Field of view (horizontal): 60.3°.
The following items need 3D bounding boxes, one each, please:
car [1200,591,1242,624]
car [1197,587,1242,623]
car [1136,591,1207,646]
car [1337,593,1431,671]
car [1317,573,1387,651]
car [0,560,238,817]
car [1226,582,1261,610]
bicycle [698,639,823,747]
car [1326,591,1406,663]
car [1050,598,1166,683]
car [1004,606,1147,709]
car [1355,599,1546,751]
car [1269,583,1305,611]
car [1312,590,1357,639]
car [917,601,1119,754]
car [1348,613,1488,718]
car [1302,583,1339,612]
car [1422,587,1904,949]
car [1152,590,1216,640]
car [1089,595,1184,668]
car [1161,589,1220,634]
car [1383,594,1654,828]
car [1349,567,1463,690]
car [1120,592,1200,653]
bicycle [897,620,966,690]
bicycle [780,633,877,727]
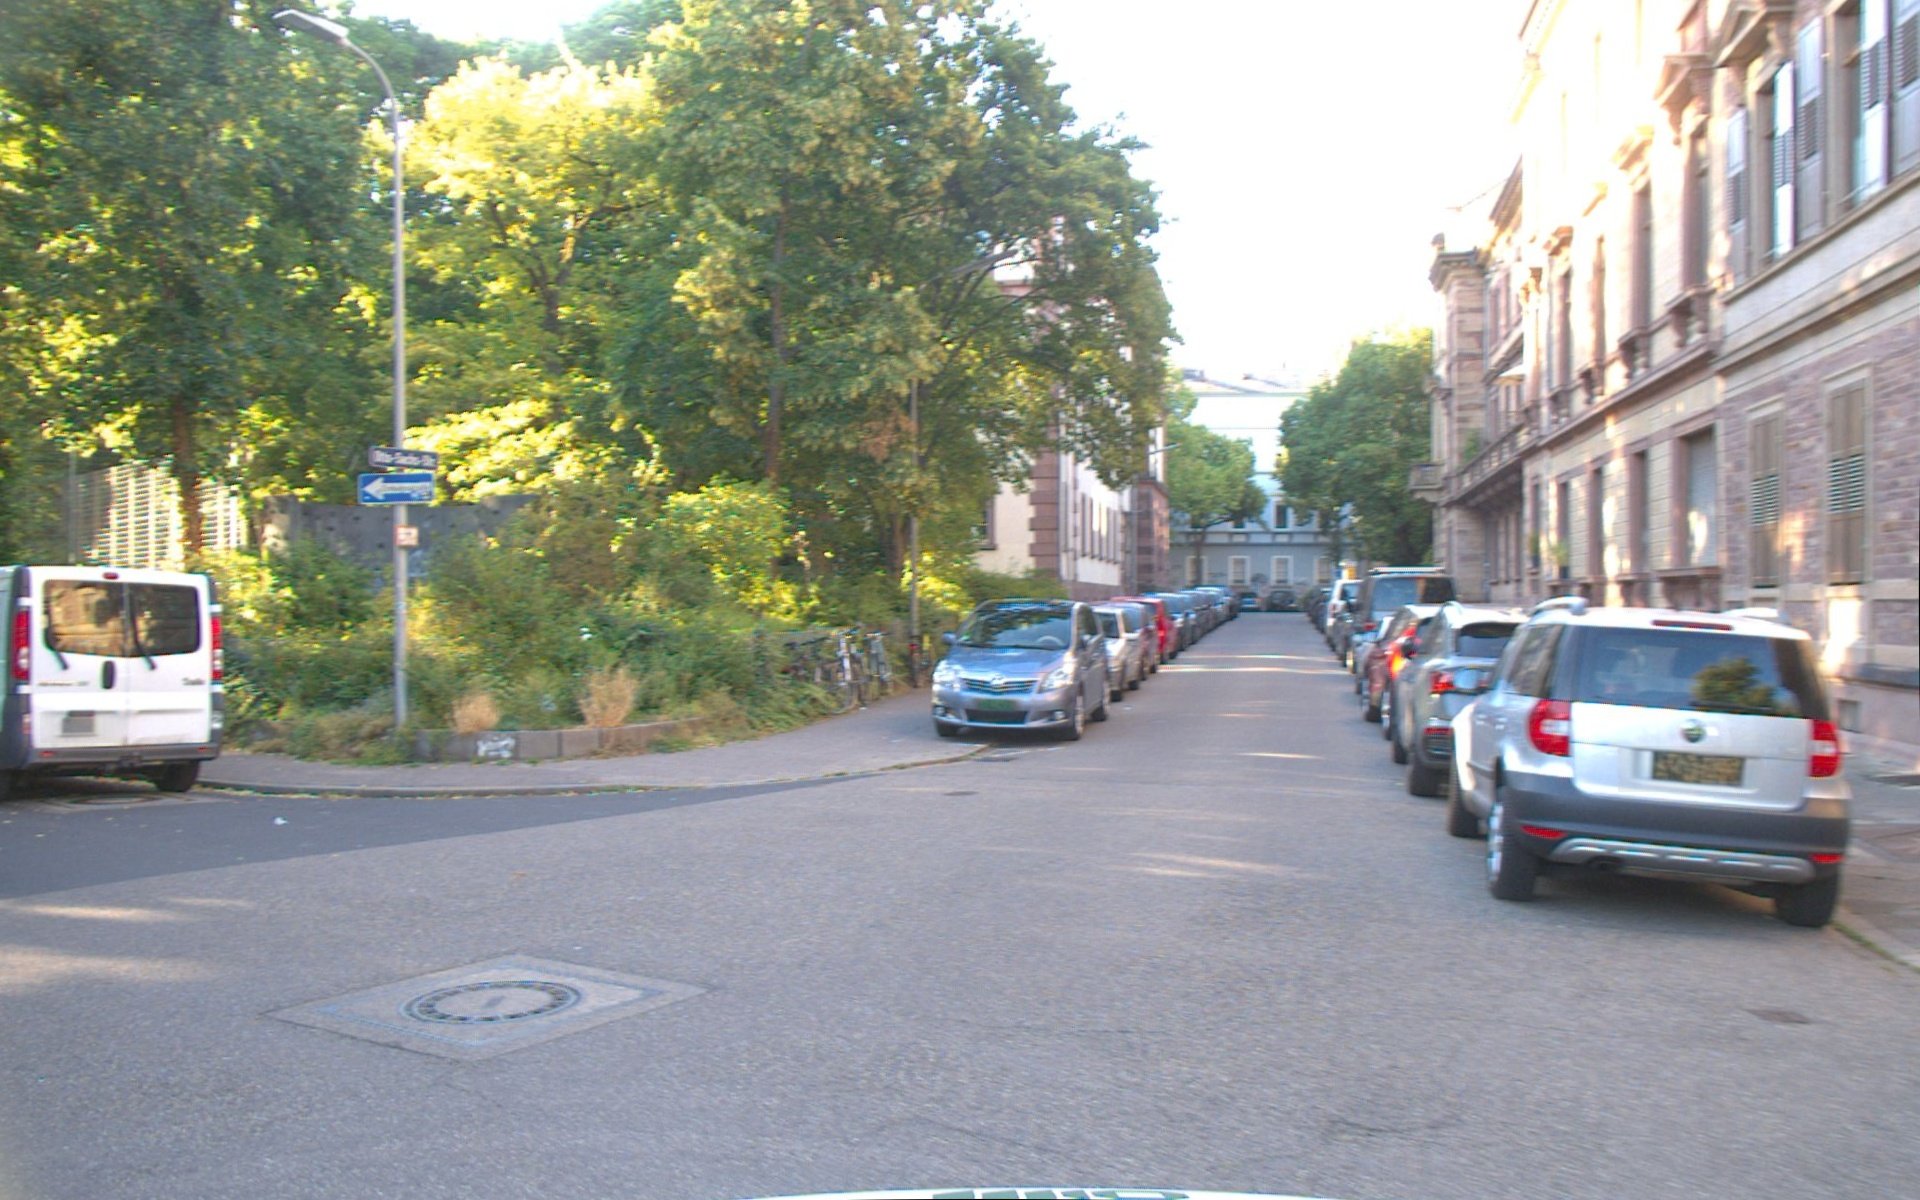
[{"bbox_3d":[12.823,0.358,81.235,1.787,1.526,3.934,3,1,12],"label":"car"},{"bbox_3d":[11.979,0.204,76.196,1.787,1.526,3.934,3,1,12],"label":"car"},{"bbox_3d":[6.489,0.530,50.433,1.787,1.526,3.934,3,1,12],"label":"car"},{"bbox_3d":[9.357,0.669,36.757,1.759,1.550,3.958,2,1,11],"label":"car"},{"bbox_3d":[11.319,0.325,47.915,1.759,2.108,3.958,2,1,11],"label":"car"},{"bbox_3d":[-8.796,0.711,15.291,4.568,2.038,1.942,0,0,38],"label":"car"},{"bbox_3d":[18.638,-0.240,108.838,1.951,1.713,4.002,1,-2,6],"label":"car"},{"bbox_3d":[-2.315,1.057,19.535,0.584,1.121,2.629,0,0,13],"label":"bicycle"},{"bbox_3d":[10.267,0.648,42.030,1.759,1.651,3.958,2,1,11],"label":"car"},{"bbox_3d":[3.013,0.754,33.043,1.787,1.503,3.934,3,1,12],"label":"car"},{"bbox_3d":[1.998,0.886,27.560,1.787,1.472,3.934,3,1,12],"label":"car"},{"bbox_3d":[6.063,0.849,20.850,1.759,1.642,3.958,2,1,9],"label":"car"},{"bbox_3d":[21.466,-0.187,108.617,1.951,1.713,4.002,1,-2,6],"label":"car"},{"bbox_3d":[16.643,0.627,73.609,1.759,2.052,3.958,2,1,11],"label":"car"},{"bbox_3d":[0.857,0.882,21.060,1.787,1.643,4.295,3,1,12],"label":"car"},{"bbox_3d":[6.989,0.948,25.583,1.759,1.368,3.958,2,1,11],"label":"car"},{"bbox_3d":[23.689,-0.136,108.805,1.951,1.713,4.002,1,-2,6],"label":"car"},{"bbox_3d":[4.079,0.837,10.364,1.875,1.685,4.190,3,0,11],"label":"car"},{"bbox_3d":[7.579,0.474,55.720,1.787,1.526,3.934,3,1,12],"label":"car"},{"bbox_3d":[4.214,0.695,39.000,1.787,1.526,3.934,3,1,12],"label":"car"},{"bbox_3d":[8.496,0.404,60.759,1.787,1.526,3.934,3,1,12],"label":"car"},{"bbox_3d":[5.007,0.866,15.425,1.787,1.753,4.547,3,1,12],"label":"car"},{"bbox_3d":[8.369,0.495,31.308,1.759,2.108,3.958,2,1,11],"label":"car"},{"bbox_3d":[5.568,0.581,45.638,1.787,1.526,3.934,3,1,12],"label":"car"},{"bbox_3d":[-0.469,0.918,28.593,0.584,1.121,2.629,0,0,13],"label":"bicycle"},{"bbox_3d":[-1.730,1.037,22.193,0.584,1.121,2.629,0,0,11],"label":"bicycle"}]
